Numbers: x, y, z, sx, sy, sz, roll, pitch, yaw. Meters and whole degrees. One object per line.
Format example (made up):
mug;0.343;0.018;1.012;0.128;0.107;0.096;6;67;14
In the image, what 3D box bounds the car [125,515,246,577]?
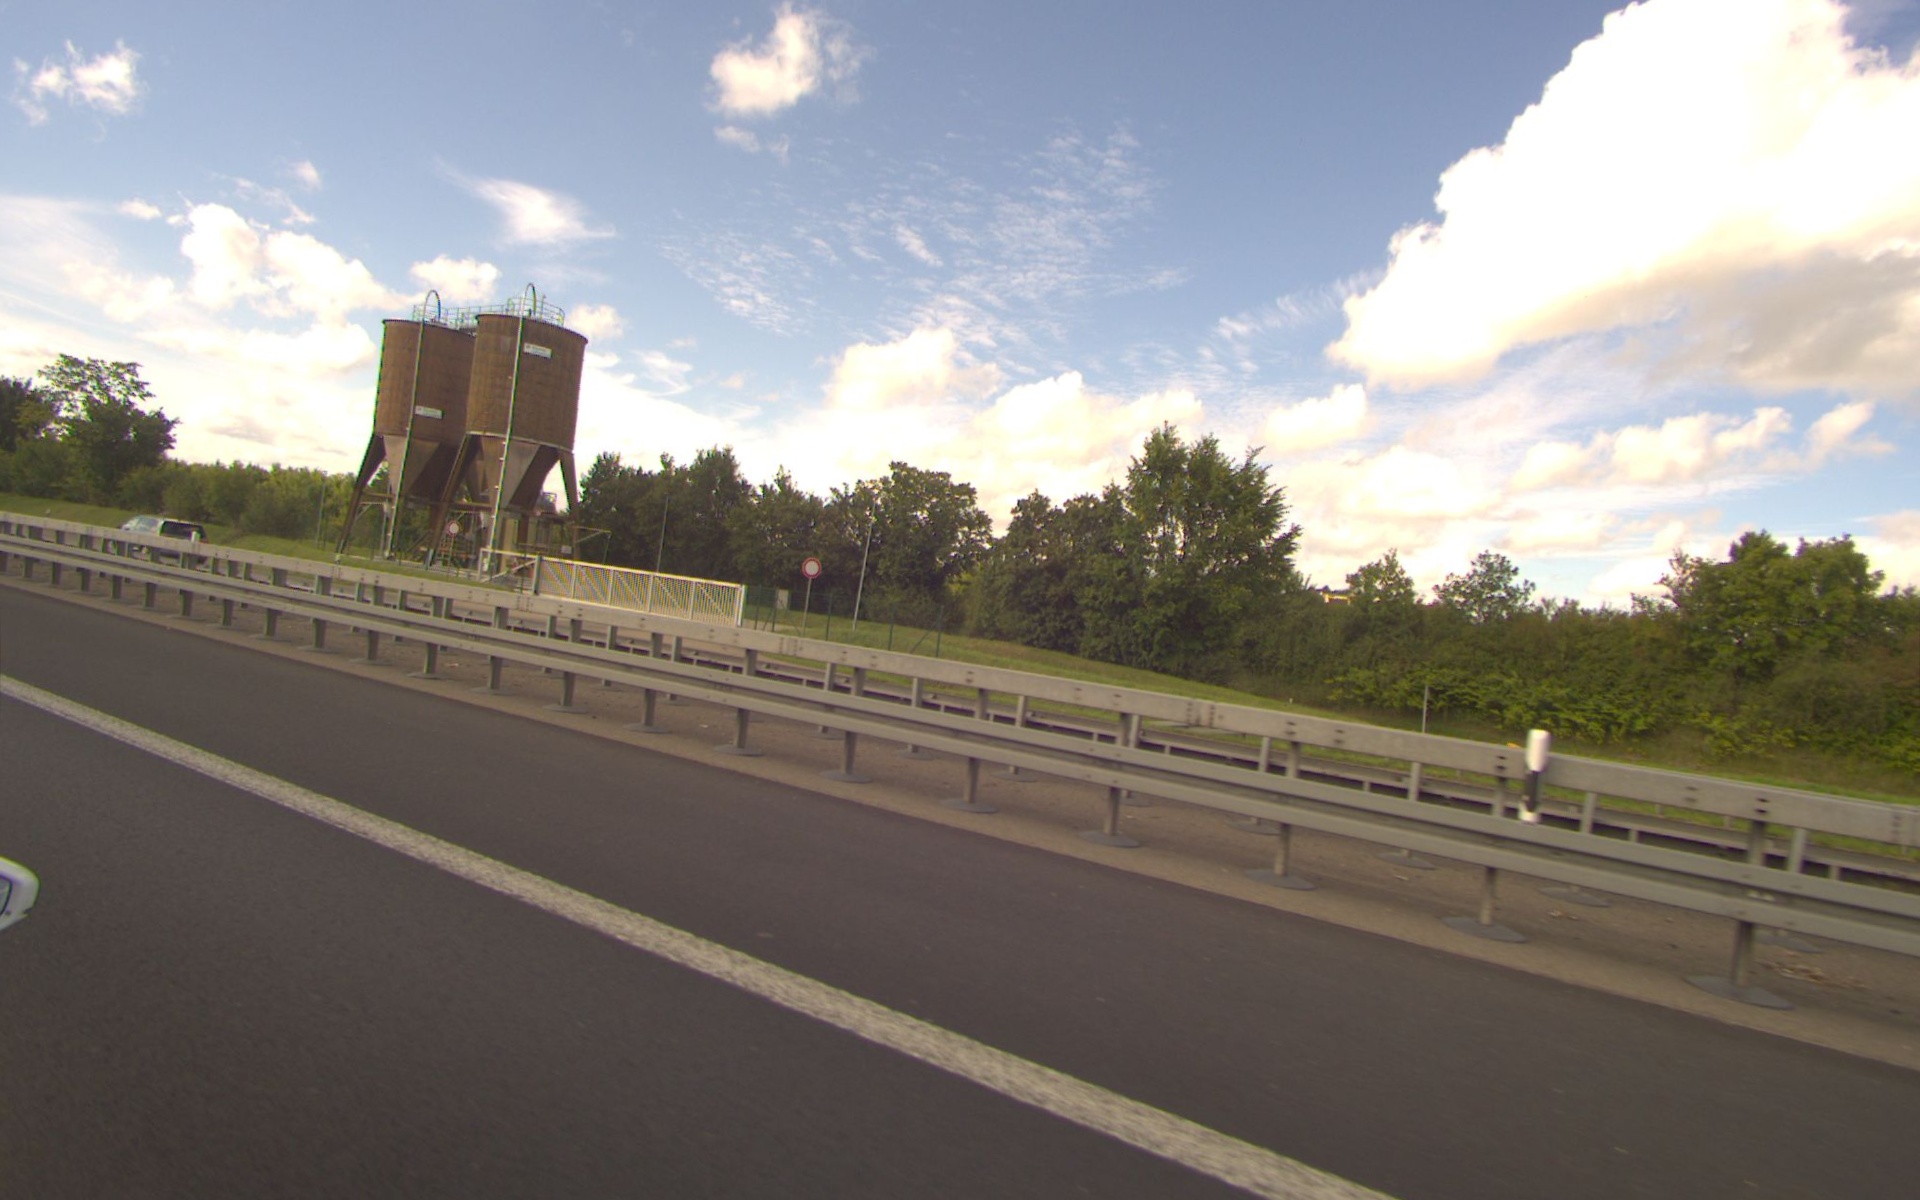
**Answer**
car;-27.506;-1.916;35.715;3.933;1.739;1.996;7;1;31
